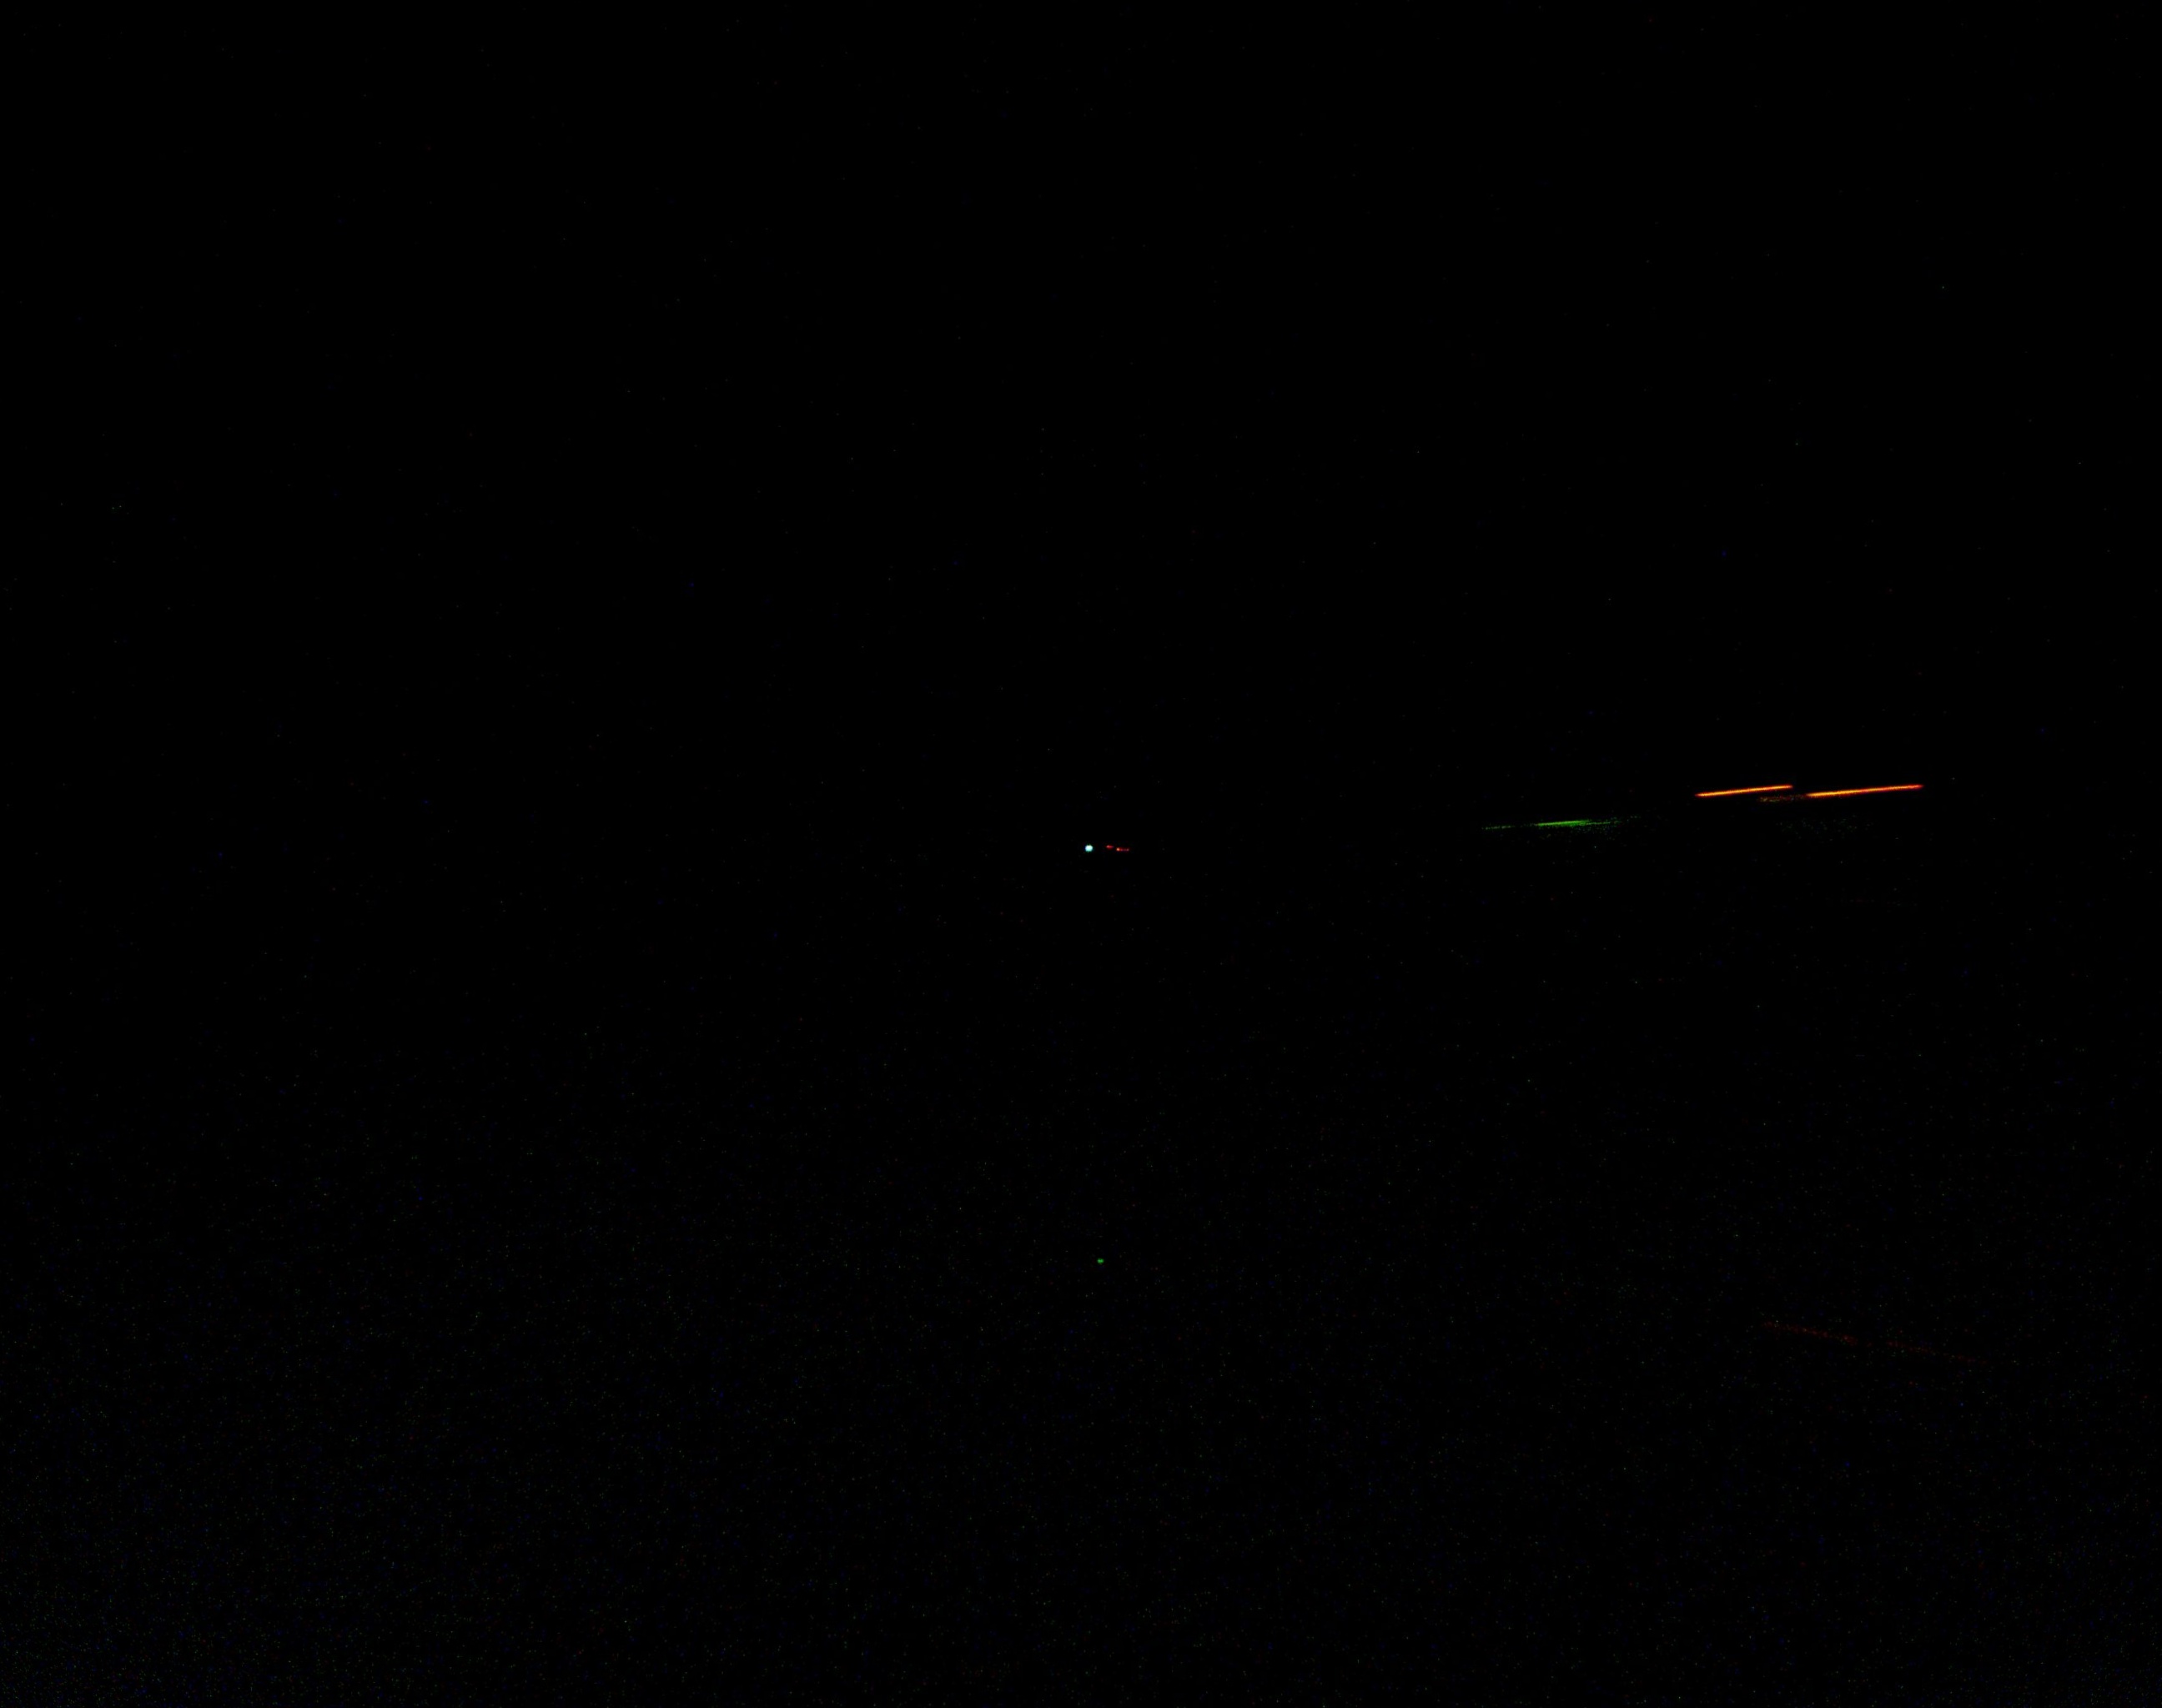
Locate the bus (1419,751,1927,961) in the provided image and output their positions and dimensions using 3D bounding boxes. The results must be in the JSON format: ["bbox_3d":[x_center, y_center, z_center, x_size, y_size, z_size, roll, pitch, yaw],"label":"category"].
[{"bbox_3d":[12.385,0.045,18.546,2.931,3.367,12.307,-1,0,1],"label":"bus"}]
